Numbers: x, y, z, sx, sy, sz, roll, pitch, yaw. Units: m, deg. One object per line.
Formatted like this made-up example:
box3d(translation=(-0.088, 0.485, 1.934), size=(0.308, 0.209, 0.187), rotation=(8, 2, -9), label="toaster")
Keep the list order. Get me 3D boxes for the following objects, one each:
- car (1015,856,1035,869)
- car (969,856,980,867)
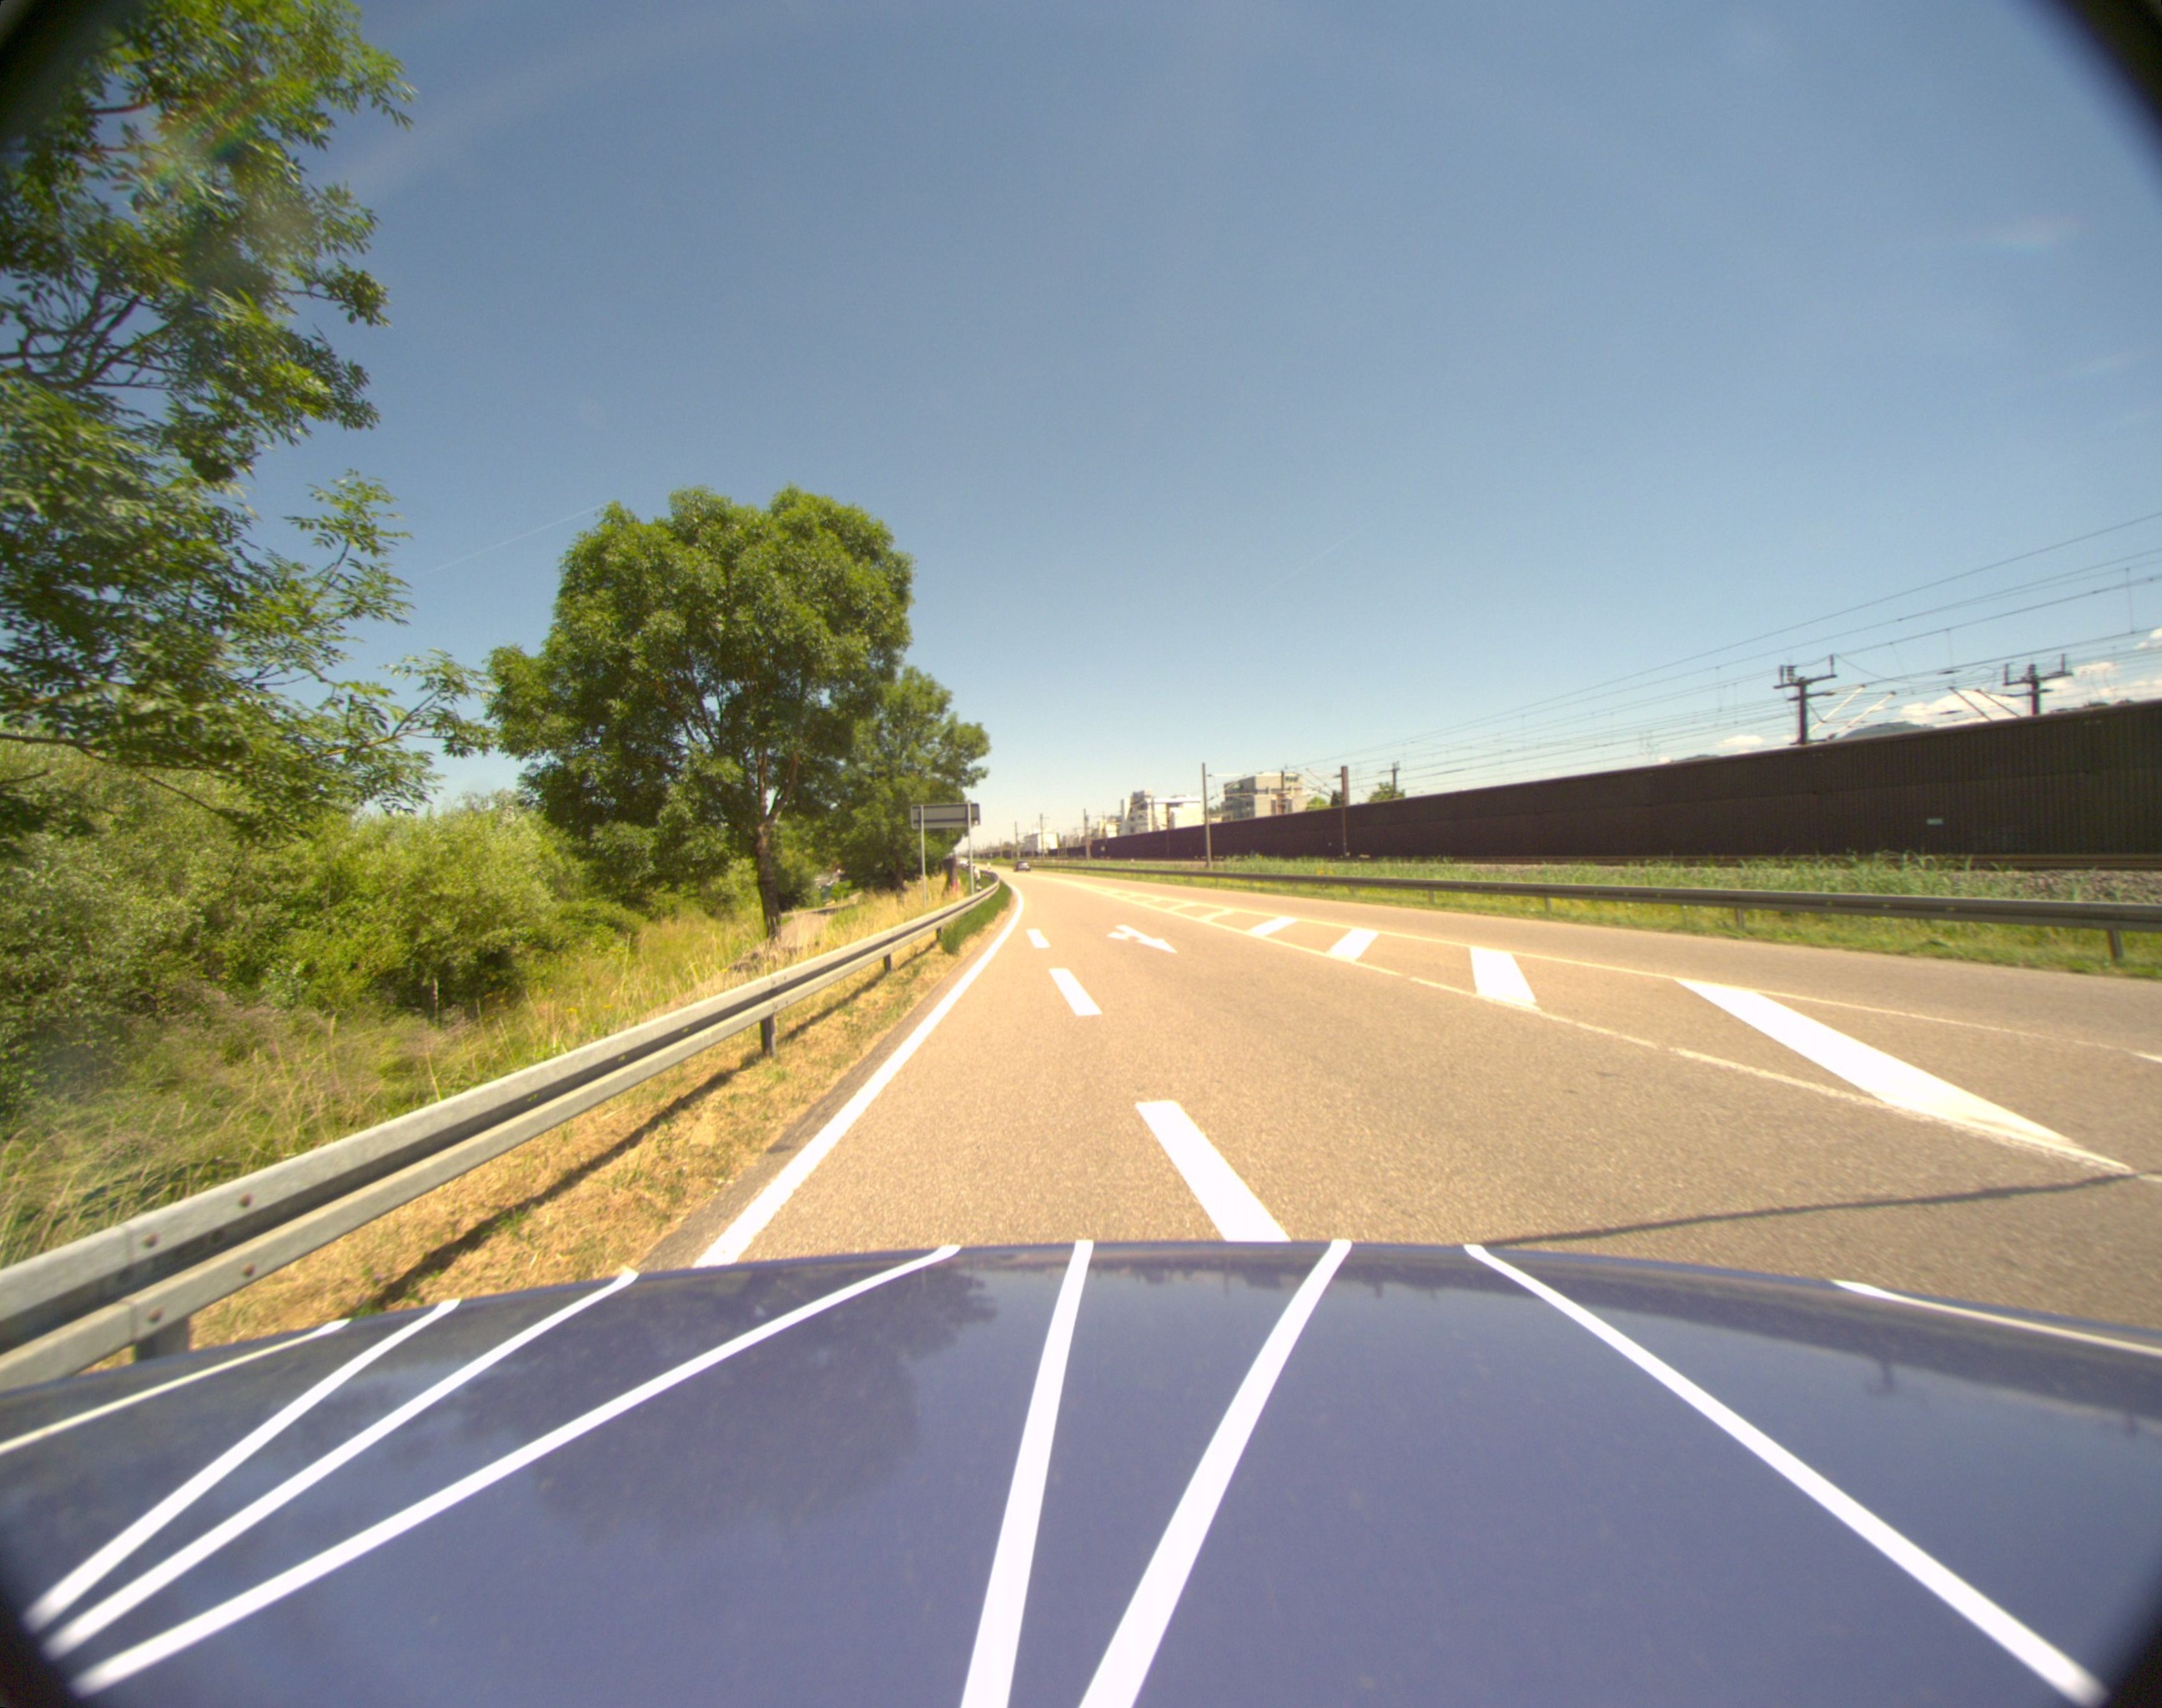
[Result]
box3d(translation=(-7.084, 1.054, 95.581), size=(1.871, 1.476, 4.883), rotation=(-2, 0, -11), label="car")
box3d(translation=(-20.980, 1.438, 150.011), size=(2.000, 2.002, 3.997), rotation=(-2, 0, -7), label="car")
